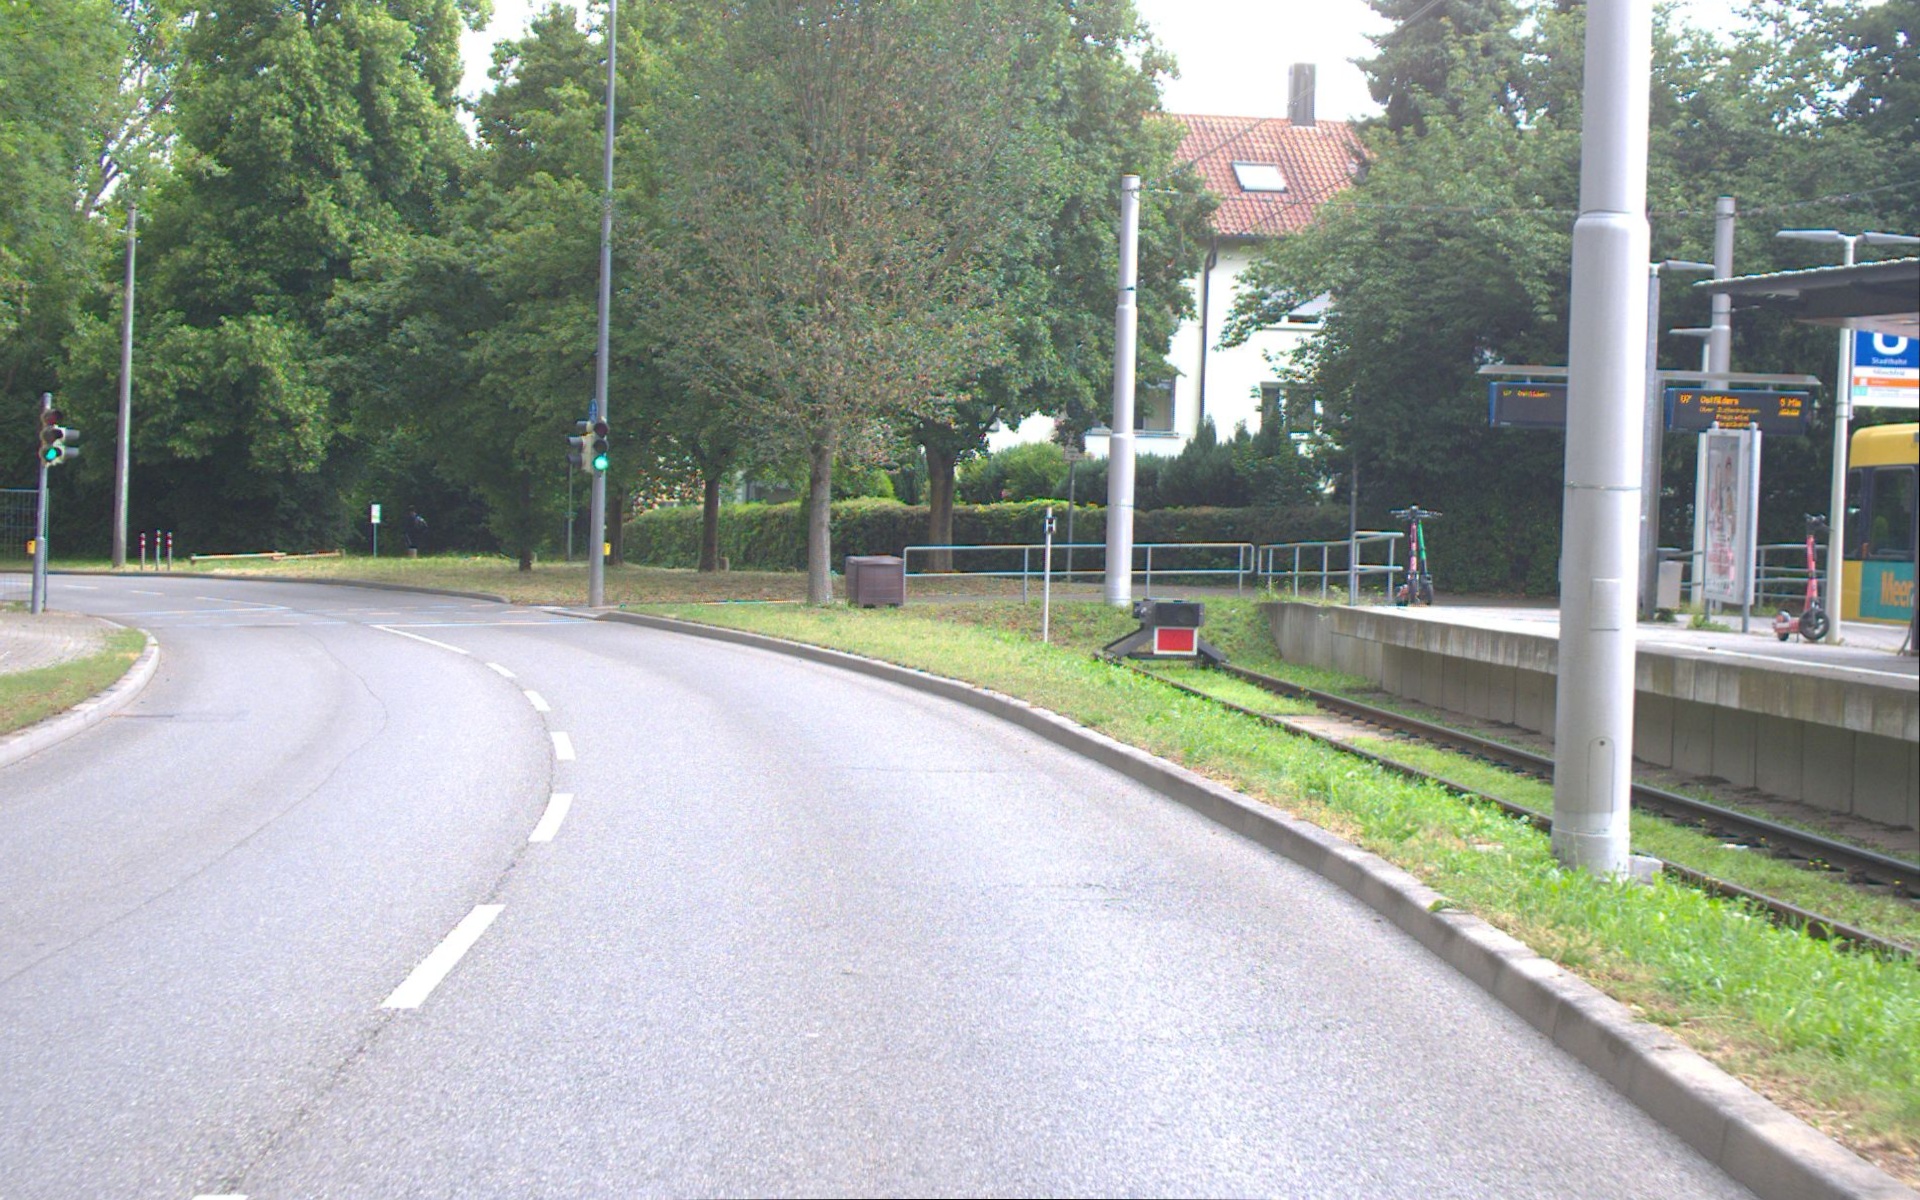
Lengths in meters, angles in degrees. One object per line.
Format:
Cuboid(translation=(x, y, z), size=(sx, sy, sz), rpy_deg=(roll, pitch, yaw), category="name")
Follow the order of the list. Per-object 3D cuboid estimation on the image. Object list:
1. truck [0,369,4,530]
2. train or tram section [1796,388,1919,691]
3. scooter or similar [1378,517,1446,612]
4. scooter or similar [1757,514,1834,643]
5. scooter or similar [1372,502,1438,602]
Cuboid(translation=(-19.062, -1.788, 51.019), size=(9.227, 3.519, 2.566), rpy_deg=(1, 0, -17), category="truck")
Cuboid(translation=(13.159, -0.502, 35.267), size=(2.813, 3.576, 19.518), rpy_deg=(3, 1, -4), category="train or tram section")
Cuboid(translation=(6.071, -0.465, 46.220), size=(0.429, 1.249, 1.255), rpy_deg=(0, -1, -16), category="scooter or similar")
Cuboid(translation=(8.261, -0.224, 34.002), size=(0.368, 1.238, 1.146), rpy_deg=(1, 1, -4), category="scooter or similar")
Cuboid(translation=(5.675, -0.604, 43.918), size=(0.429, 1.249, 1.255), rpy_deg=(0, -1, -13), category="scooter or similar")
